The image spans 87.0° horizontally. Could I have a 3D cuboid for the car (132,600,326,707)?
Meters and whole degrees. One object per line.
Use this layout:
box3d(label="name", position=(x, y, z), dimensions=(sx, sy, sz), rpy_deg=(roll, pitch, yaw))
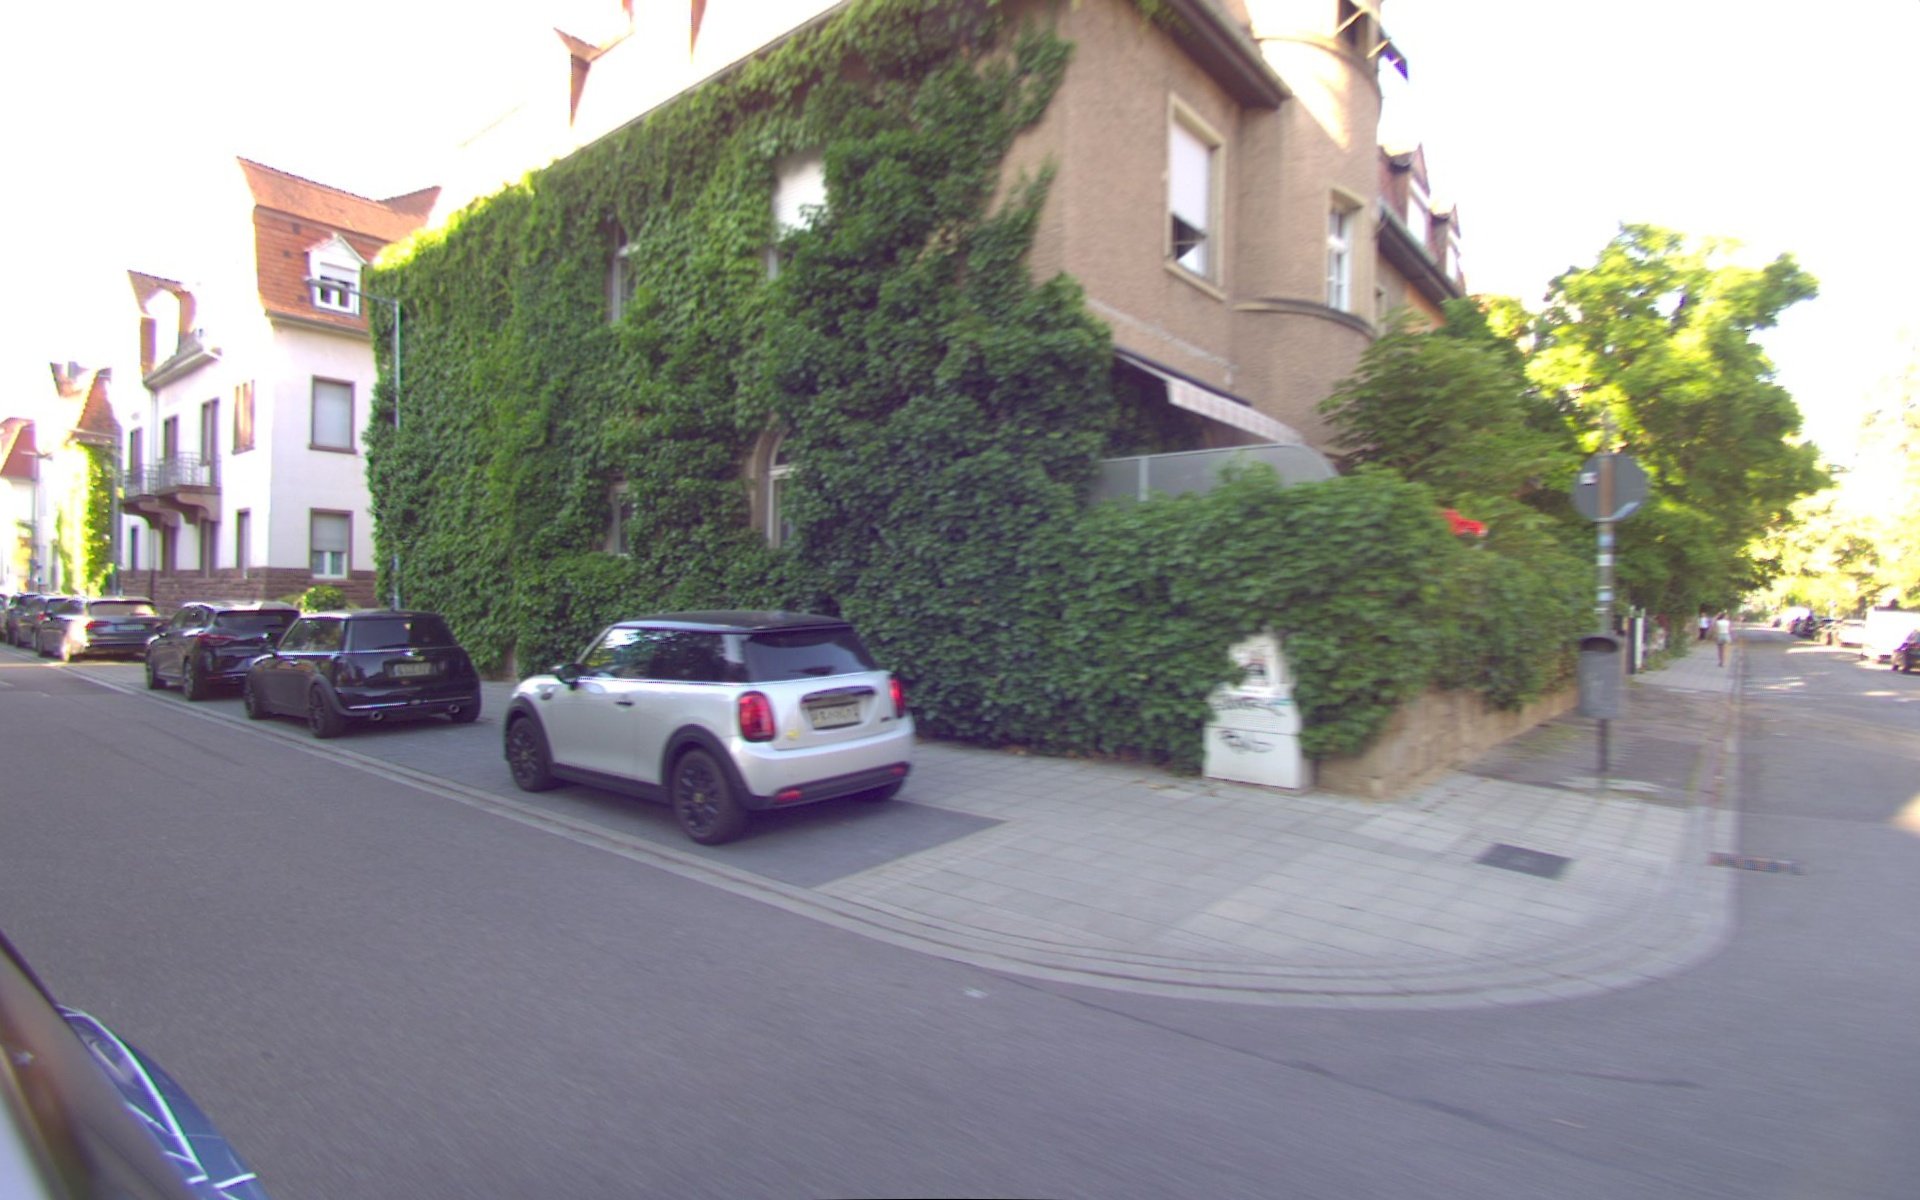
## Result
box3d(label="car", position=(-11.691, 0.747, 16.086), dimensions=(4.097, 1.431, 1.632), rpy_deg=(1, 1, 41))

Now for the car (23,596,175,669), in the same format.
box3d(label="car", position=(-19.907, 0.678, 23.333), dimensions=(4.772, 1.472, 1.775), rpy_deg=(1, 1, 39))

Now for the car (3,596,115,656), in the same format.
box3d(label="car", position=(-24.326, 0.642, 27.278), dimensions=(3.840, 1.458, 1.637), rpy_deg=(1, 1, 39))

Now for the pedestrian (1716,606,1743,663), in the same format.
box3d(label="pedestrian", position=(24.788, 1.102, 32.617), dimensions=(0.662, 1.793, 0.583), rpy_deg=(1, 0, 38))

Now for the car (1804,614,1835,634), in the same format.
box3d(label="car", position=(68.697, 1.912, 80.920), dimensions=(1.663, 1.479, 4.145), rpy_deg=(4, 2, 38))

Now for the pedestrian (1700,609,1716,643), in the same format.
box3d(label="pedestrian", position=(40.670, 1.407, 55.041), dimensions=(0.662, 1.793, 0.583), rpy_deg=(1, 0, 38))

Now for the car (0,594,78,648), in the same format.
box3d(label="car", position=(-27.739, 0.581, 30.207), dimensions=(3.763, 1.497, 1.636), rpy_deg=(1, 1, 41))

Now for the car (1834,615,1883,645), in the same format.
box3d(label="car", position=(49.385, 1.621, 55.699), dimensions=(1.663, 1.479, 4.145), rpy_deg=(4, 2, 38))

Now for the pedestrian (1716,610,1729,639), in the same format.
box3d(label="pedestrian", position=(48.412, 1.546, 64.237), dimensions=(0.662, 1.793, 0.583), rpy_deg=(1, 0, 38))

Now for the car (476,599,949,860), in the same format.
box3d(label="car", position=(-2.088, 0.755, 7.873), dimensions=(3.917, 1.471, 1.686), rpy_deg=(1, 1, 42))

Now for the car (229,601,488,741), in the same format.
box3d(label="car", position=(-7.440, 0.743, 12.389), dimensions=(3.719, 1.390, 1.669), rpy_deg=(1, 1, 41))

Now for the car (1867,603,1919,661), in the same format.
box3d(label="car", position=(34.698, 1.152, 36.972), dimensions=(1.912, 1.962, 4.145), rpy_deg=(4, 2, 38))

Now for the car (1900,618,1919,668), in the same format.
box3d(label="car", position=(30.718, 1.352, 31.532), dimensions=(1.663, 1.479, 4.145), rpy_deg=(4, 2, 38))

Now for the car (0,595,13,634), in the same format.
box3d(label="car", position=(-38.153, 0.564, 39.283), dimensions=(4.003, 1.458, 1.636), rpy_deg=(1, 1, 41))

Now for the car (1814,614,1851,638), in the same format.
box3d(label="car", position=(60.095, 1.792, 69.727), dimensions=(1.663, 1.479, 4.145), rpy_deg=(4, 2, 38))

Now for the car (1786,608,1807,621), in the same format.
box3d(label="car", position=(98.324, 1.709, 118.998), dimensions=(1.663, 1.479, 4.145), rpy_deg=(4, 2, 38))
